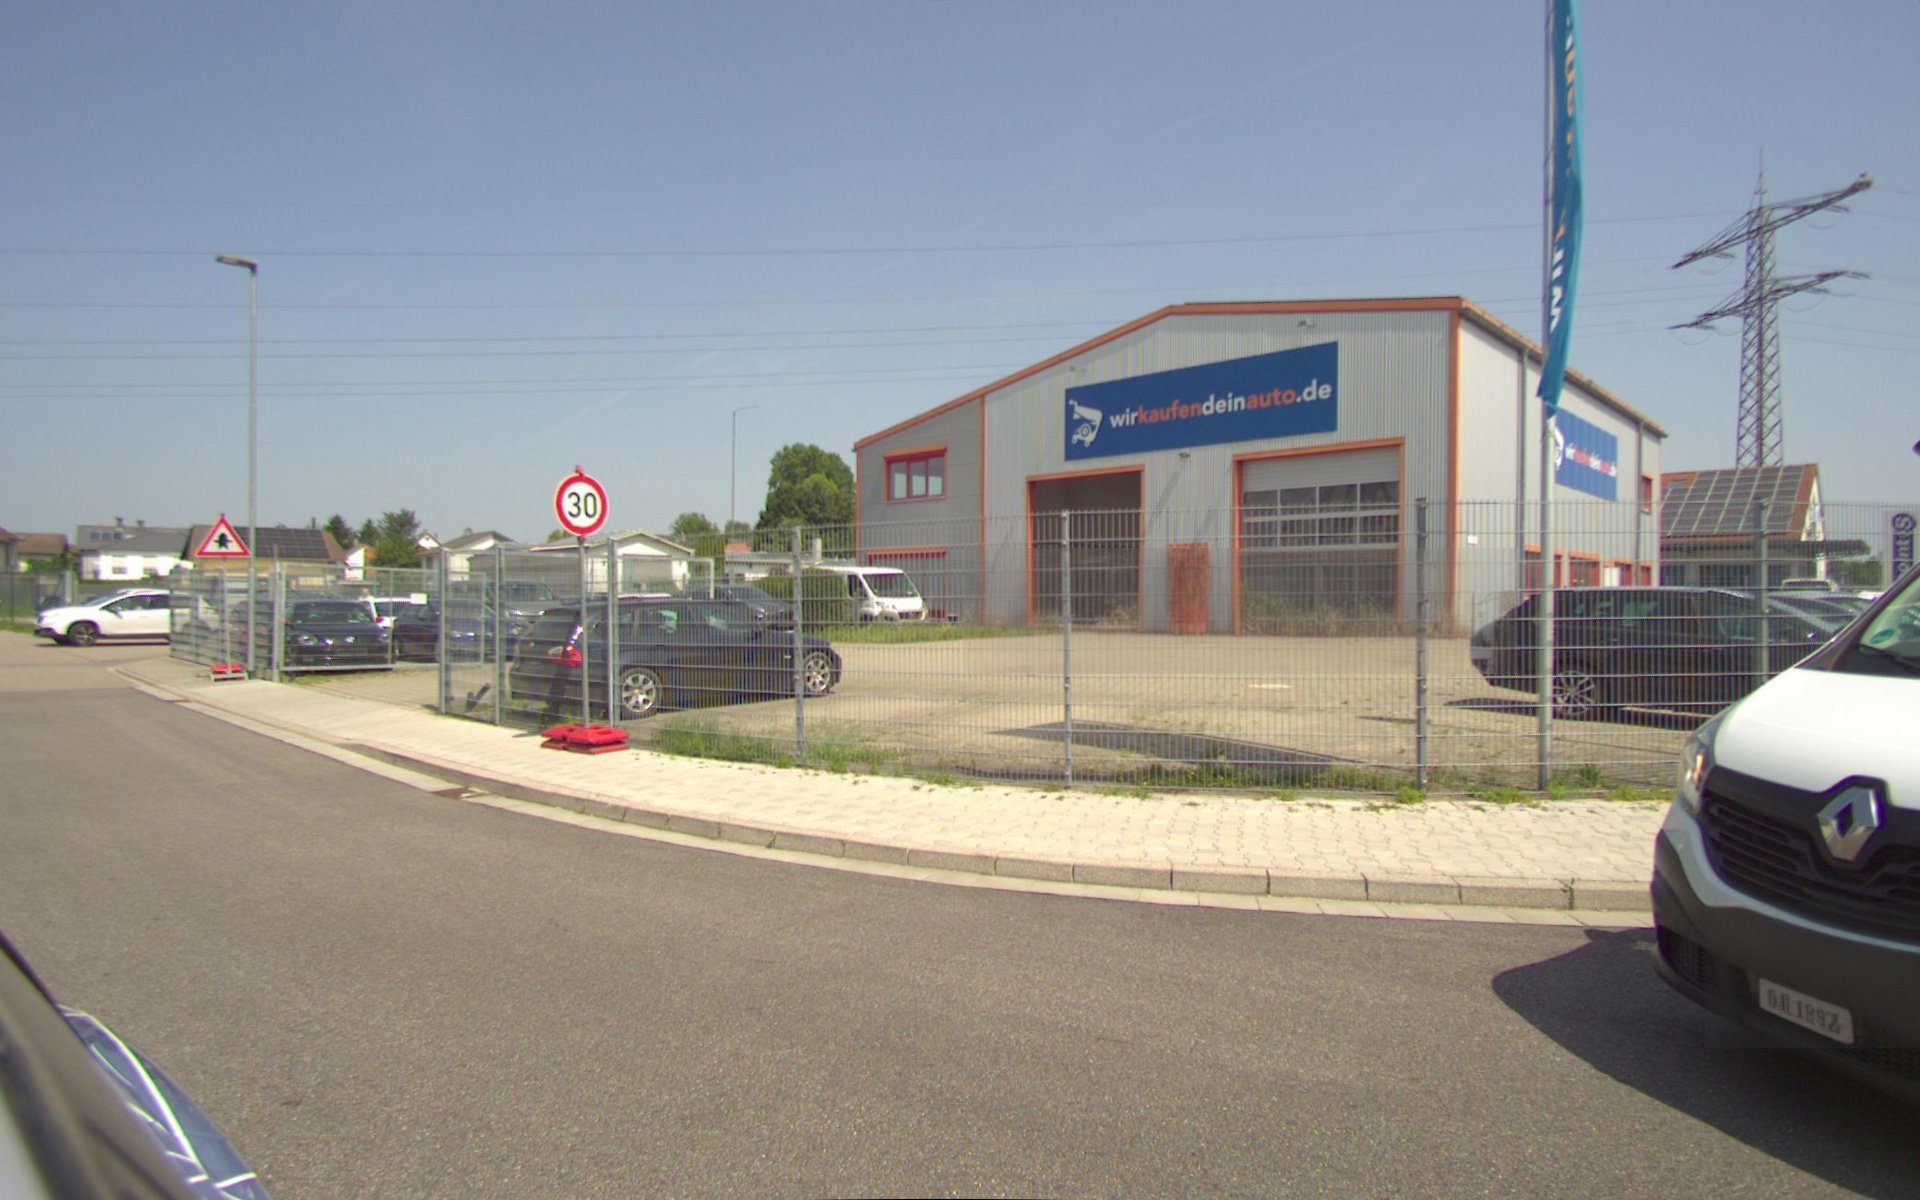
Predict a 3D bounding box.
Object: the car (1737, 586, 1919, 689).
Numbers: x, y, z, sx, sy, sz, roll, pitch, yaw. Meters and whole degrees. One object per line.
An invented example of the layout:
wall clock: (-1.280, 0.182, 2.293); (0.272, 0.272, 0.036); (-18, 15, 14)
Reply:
car: (14.093, 0.540, 15.237); (3.460, 1.476, 1.580); (0, 0, 19)

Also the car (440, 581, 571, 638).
car: (-12.819, 0.260, 28.453); (3.996, 1.514, 1.752); (-1, 0, 39)

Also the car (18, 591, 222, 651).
car: (-23.278, 0.535, 28.165); (1.773, 1.514, 4.108); (-1, 0, 39)

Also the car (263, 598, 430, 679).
car: (-12.915, 0.753, 21.215); (3.996, 1.514, 1.752); (-1, 0, 39)

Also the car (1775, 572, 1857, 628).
car: (32.773, 0.038, 38.714); (2.001, 2.029, 4.611); (-1, -1, 45)

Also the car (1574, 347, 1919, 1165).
car: (4.760, 0.390, 3.037); (4.736, 2.076, 2.013); (0, -2, -9)

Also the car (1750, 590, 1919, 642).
car: (26.625, 0.448, 30.520); (4.047, 1.505, 1.739); (0, 0, 9)

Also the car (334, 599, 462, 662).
car: (-14.809, 0.753, 26.583); (3.999, 1.514, 1.750); (-1, 0, 42)

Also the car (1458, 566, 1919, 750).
car: (7.320, 0.481, 9.996); (3.998, 1.514, 1.751); (-1, 0, 41)

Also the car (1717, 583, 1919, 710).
car: (12.032, 0.542, 12.728); (3.994, 1.514, 1.753); (-1, 0, 37)

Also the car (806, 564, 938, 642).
car: (-2.789, 0.093, 31.287); (1.968, 2.212, 4.330); (-1, 0, -39)

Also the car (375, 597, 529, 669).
car: (-11.727, 0.714, 23.270); (3.807, 1.514, 1.752); (-1, 0, 39)

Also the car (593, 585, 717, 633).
car: (-9.727, 0.275, 32.128); (4.199, 1.431, 1.872); (-1, 0, 42)

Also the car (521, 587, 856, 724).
car: (-3.447, 0.606, 13.370); (1.775, 1.514, 3.943); (-1, 0, 43)
